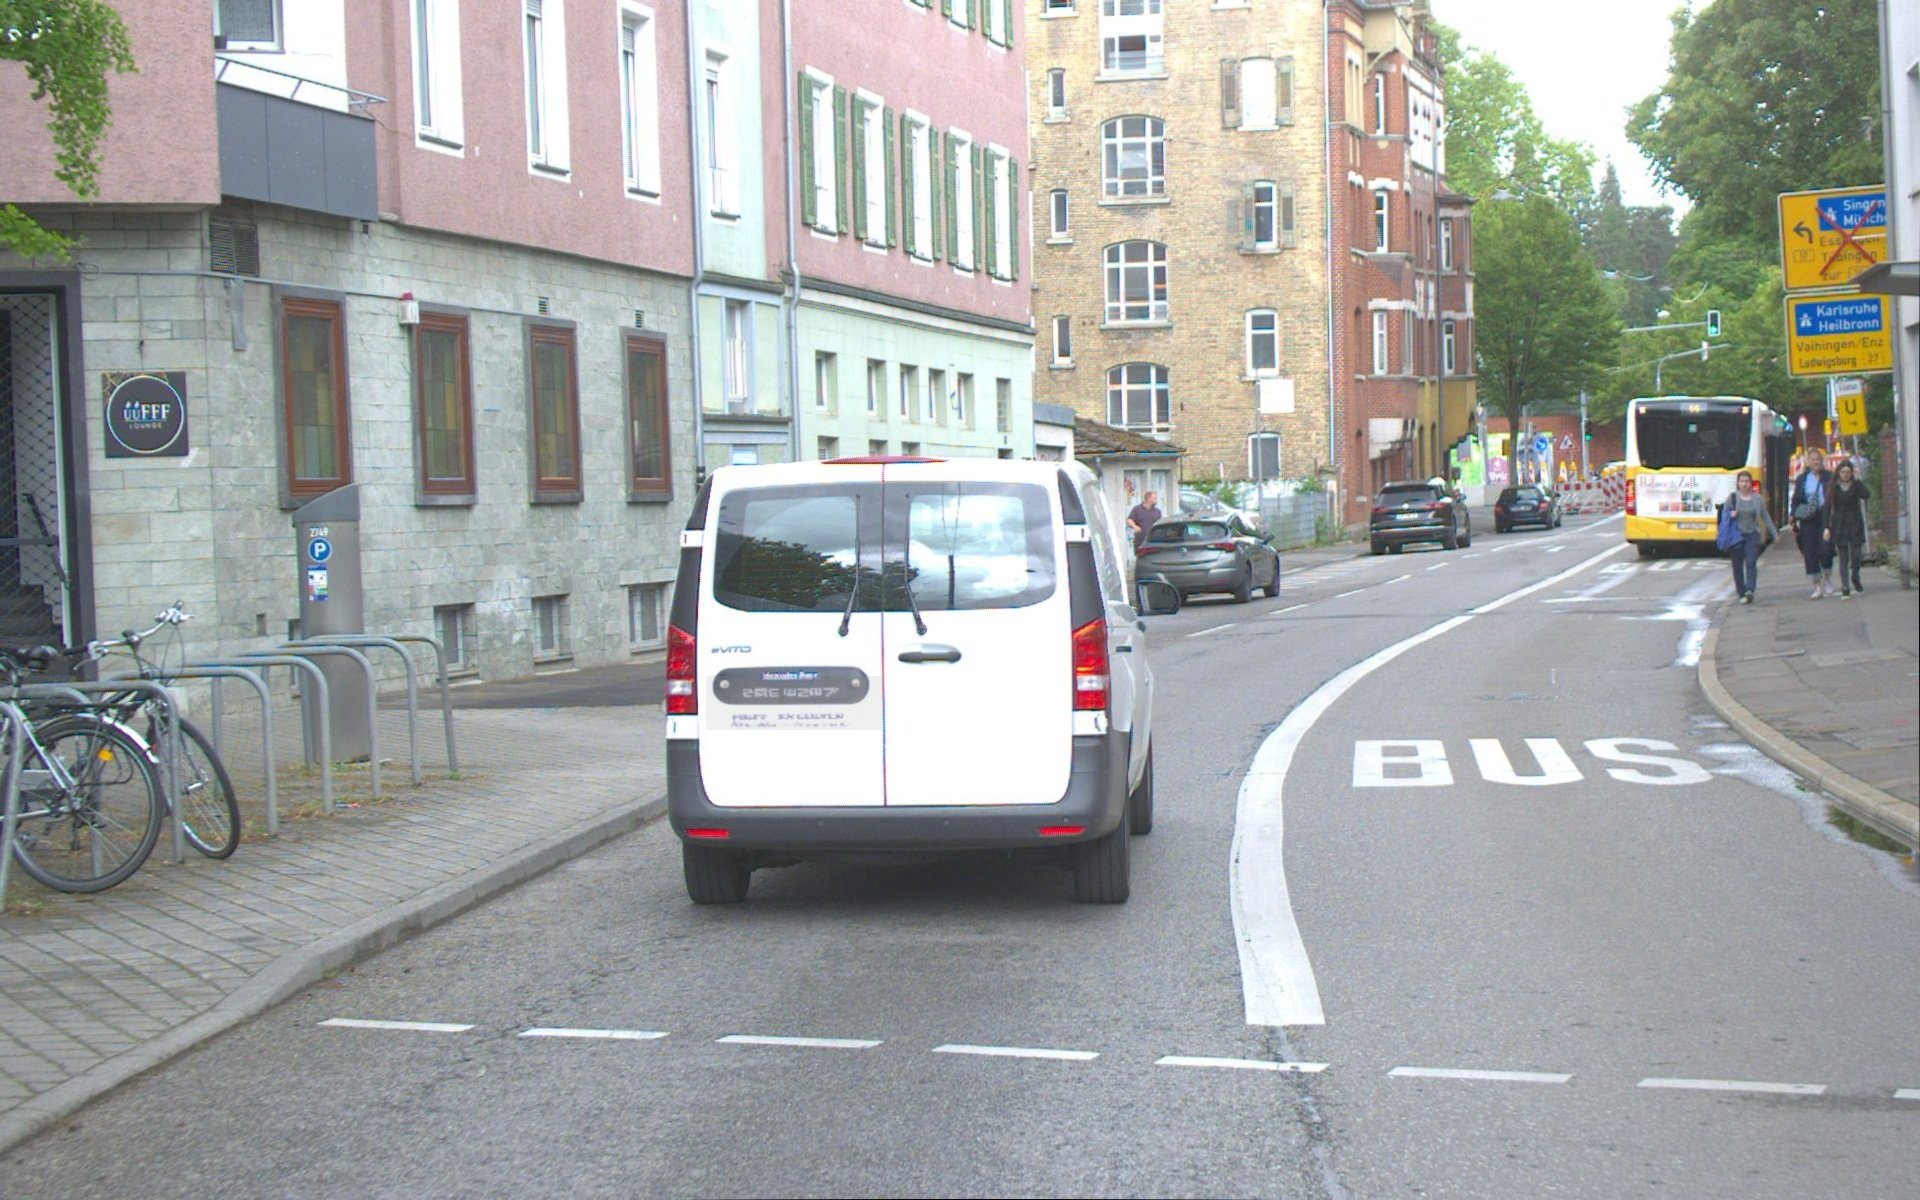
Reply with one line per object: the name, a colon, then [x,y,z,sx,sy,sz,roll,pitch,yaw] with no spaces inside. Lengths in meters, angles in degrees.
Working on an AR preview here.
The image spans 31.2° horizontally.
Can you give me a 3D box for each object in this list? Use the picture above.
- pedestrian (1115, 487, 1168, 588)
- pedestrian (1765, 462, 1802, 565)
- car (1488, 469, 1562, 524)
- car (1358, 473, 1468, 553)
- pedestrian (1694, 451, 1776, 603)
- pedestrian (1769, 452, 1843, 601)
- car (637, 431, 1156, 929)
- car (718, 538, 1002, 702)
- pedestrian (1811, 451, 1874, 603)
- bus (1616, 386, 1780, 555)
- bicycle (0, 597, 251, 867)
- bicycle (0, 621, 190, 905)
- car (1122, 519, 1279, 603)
pedestrian: [3.145,-1.082,59.554,0.761,1.738,0.984,1,1,12]
pedestrian: [14.209,-1.493,59.320,0.582,1.772,0.821,1,2,15]
car: [17.574,-3.231,106.844,1.726,1.480,4.388,-1,4,16]
car: [10.743,-2.080,81.257,1.955,1.728,4.771,-1,2,15]
pedestrian: [9.561,-0.909,42.443,0.803,1.787,0.942,-4,2,9]
pedestrian: [10.319,-0.904,41.937,0.687,1.750,0.878,-4,2,9]
car: [-0.120,0.288,15.682,1.917,1.895,4.701,1,0,4]
car: [-0.904,0.147,33.973,1.830,1.450,4.582,-2,1,11]
pedestrian: [10.532,-0.873,41.034,0.543,1.750,0.608,-3,2,22]
bus: [14.887,-2.610,68.886,2.664,3.125,10.034,1,2,15]
bicycle: [-4.118,0.580,15.447,1.801,1.172,0.725,0,1,-10]
bicycle: [-4.166,0.646,14.139,1.870,1.110,0.577,1,1,11]
car: [3.889,-0.616,54.963,1.994,1.285,3.998,1,0,11]
